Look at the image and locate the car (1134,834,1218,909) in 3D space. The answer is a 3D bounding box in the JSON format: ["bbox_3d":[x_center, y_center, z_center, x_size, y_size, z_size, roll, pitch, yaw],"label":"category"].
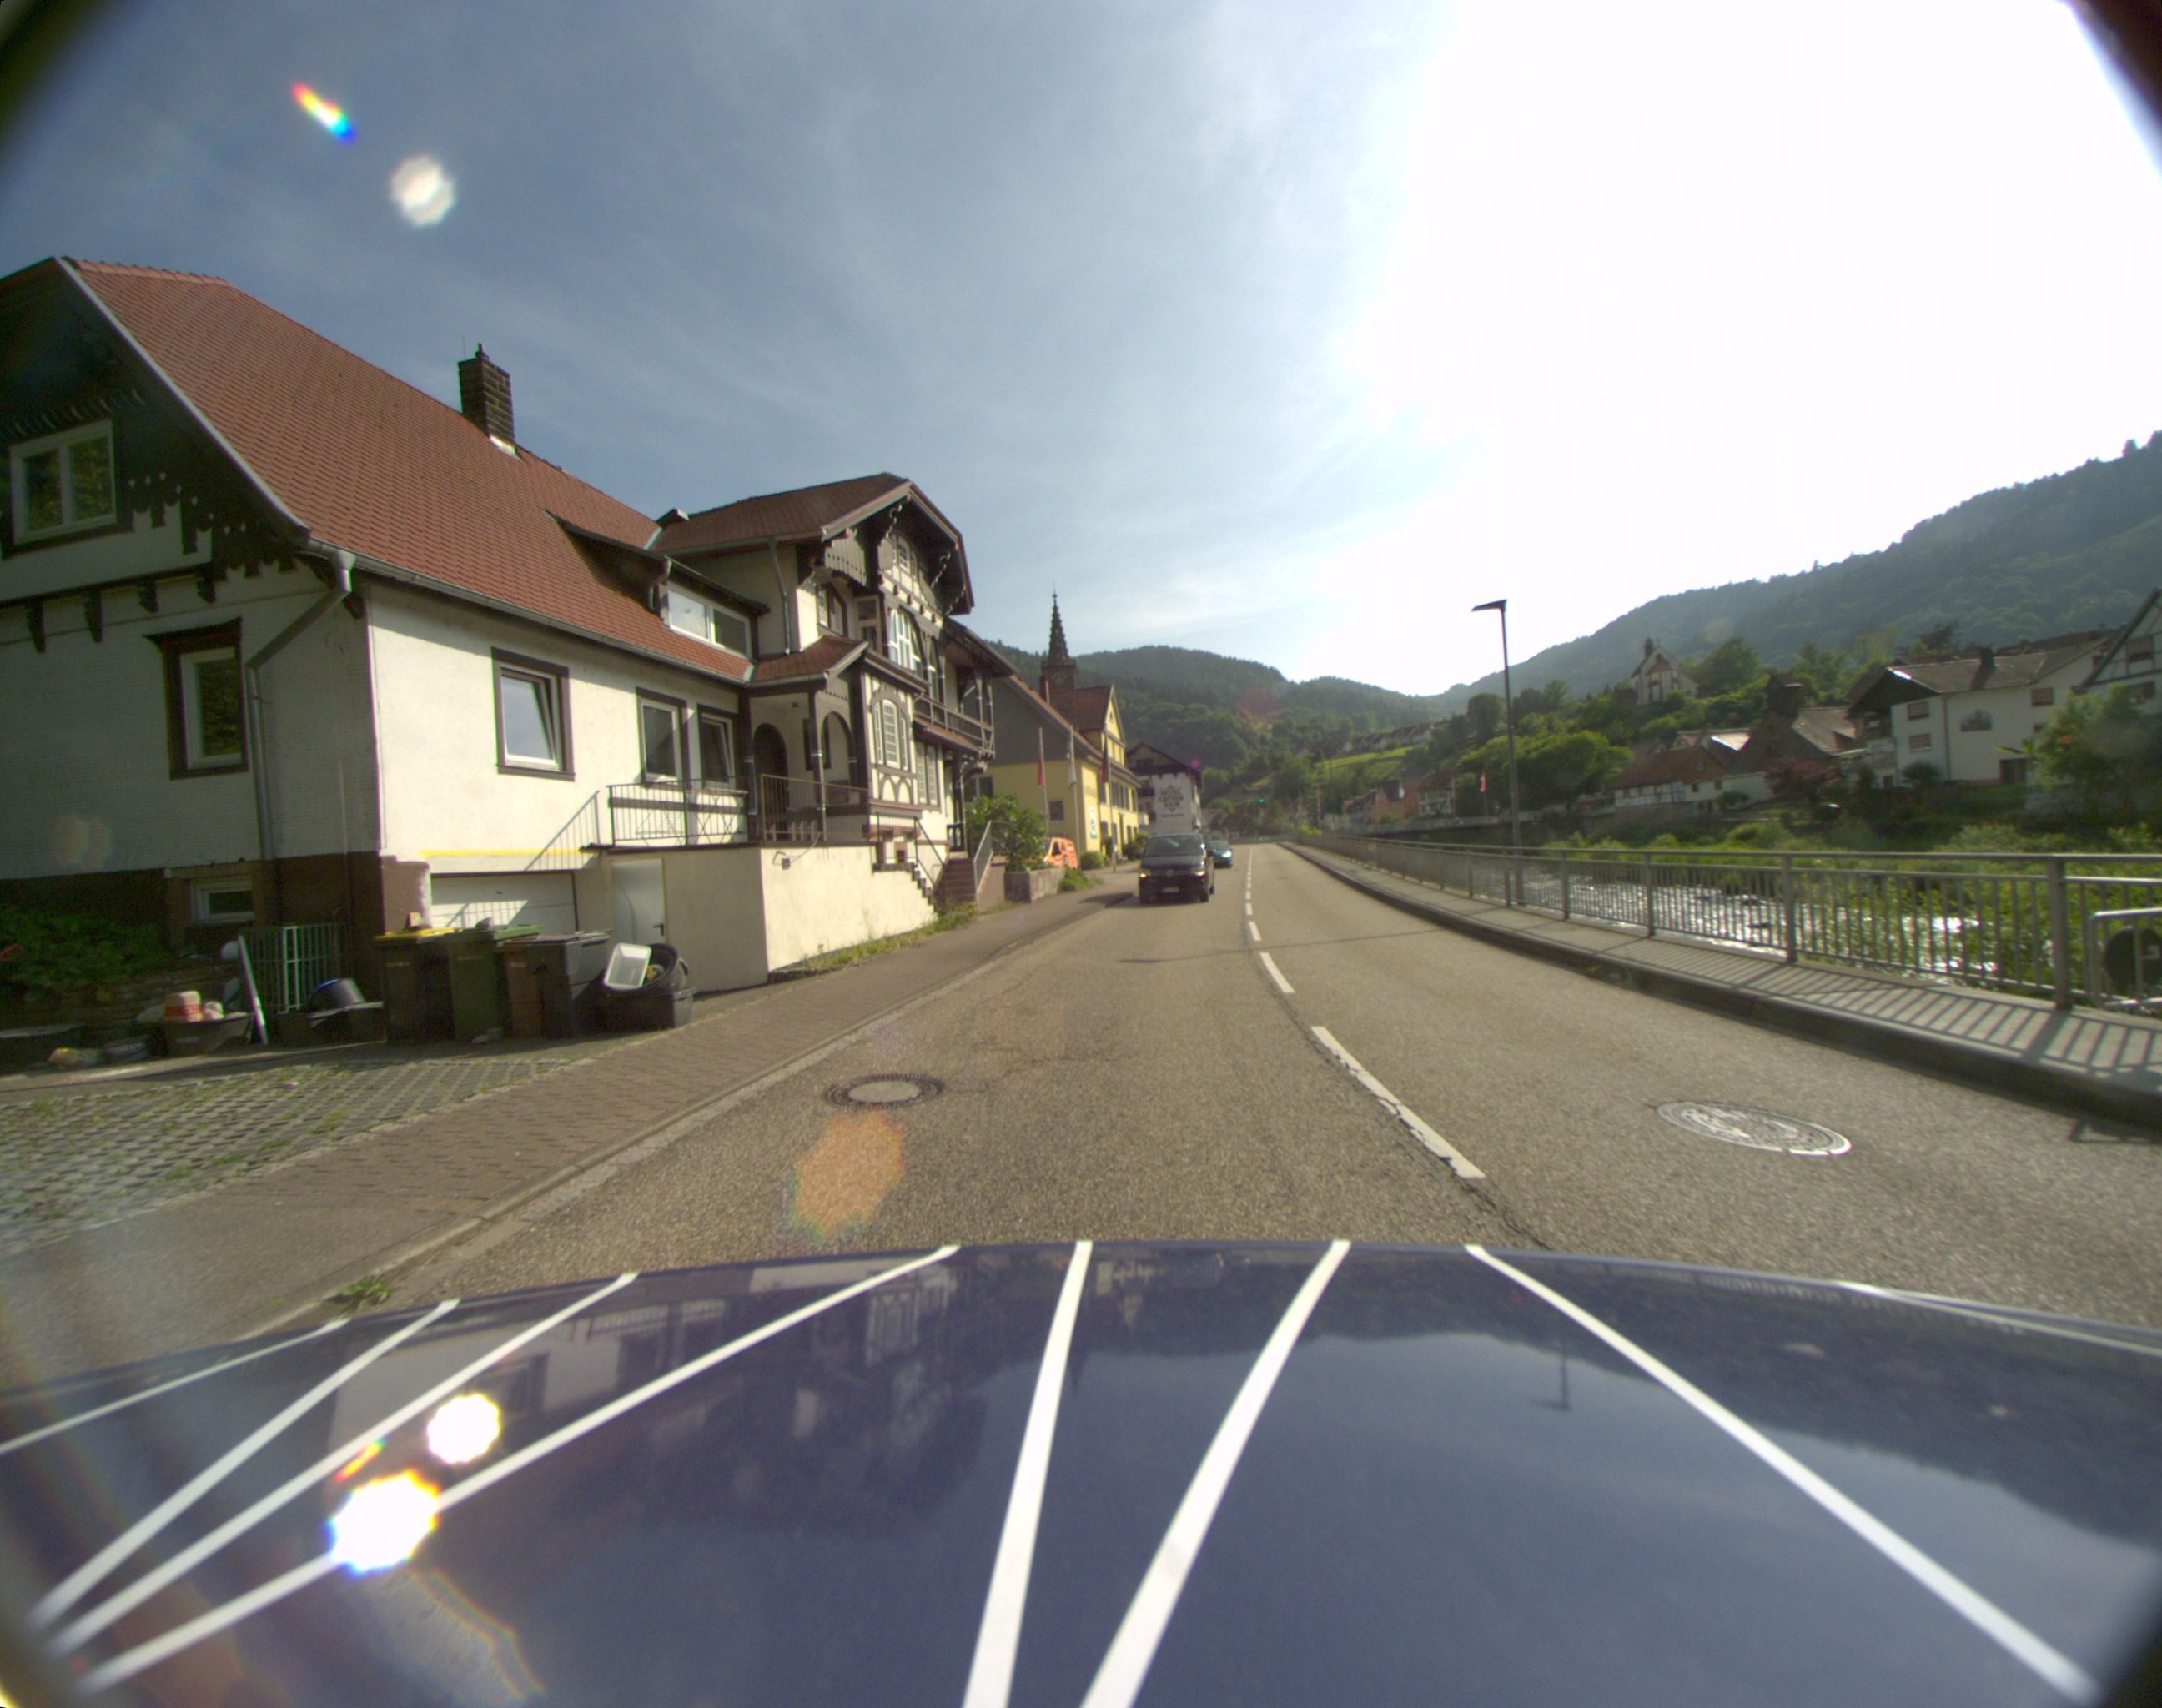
[{"bbox_3d":[2.949,0.406,22.534,1.885,1.953,4.870,-2,1,13],"label":"car"}]

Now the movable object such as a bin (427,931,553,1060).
[{"bbox_3d":[-5.575,1.314,7.201,0.478,1.056,0.753,-4,1,9],"label":"movable object such as a bin"}]

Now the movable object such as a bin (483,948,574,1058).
[{"bbox_3d":[-5.130,1.372,7.080,0.368,0.895,0.547,-4,1,2],"label":"movable object such as a bin"}]

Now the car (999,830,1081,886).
[{"bbox_3d":[-1.500,0.105,29.785,1.911,1.986,4.839,1,1,13],"label":"car"}]

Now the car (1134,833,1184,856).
[{"bbox_3d":[7.346,-0.904,71.623,4.448,1.947,1.715,2,2,15],"label":"car"}]

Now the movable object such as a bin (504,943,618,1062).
[{"bbox_3d":[-4.668,1.319,6.853,0.472,0.931,0.653,-4,1,9],"label":"movable object such as a bin"}]

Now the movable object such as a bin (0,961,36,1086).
[{"bbox_3d":[-9.881,1.536,6.734,0.525,1.076,0.432,-4,1,-5],"label":"movable object such as a bin"}]

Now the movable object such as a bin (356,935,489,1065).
[{"bbox_3d":[-6.169,1.343,7.148,0.478,1.056,0.753,-4,1,9],"label":"movable object such as a bin"}]

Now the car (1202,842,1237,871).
[{"bbox_3d":[7.910,0.090,43.163,1.681,1.513,3.869,-1,1,14],"label":"car"}]

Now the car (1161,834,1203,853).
[{"bbox_3d":[10.202,-1.033,76.451,3.992,1.871,1.686,0,2,16],"label":"car"}]
